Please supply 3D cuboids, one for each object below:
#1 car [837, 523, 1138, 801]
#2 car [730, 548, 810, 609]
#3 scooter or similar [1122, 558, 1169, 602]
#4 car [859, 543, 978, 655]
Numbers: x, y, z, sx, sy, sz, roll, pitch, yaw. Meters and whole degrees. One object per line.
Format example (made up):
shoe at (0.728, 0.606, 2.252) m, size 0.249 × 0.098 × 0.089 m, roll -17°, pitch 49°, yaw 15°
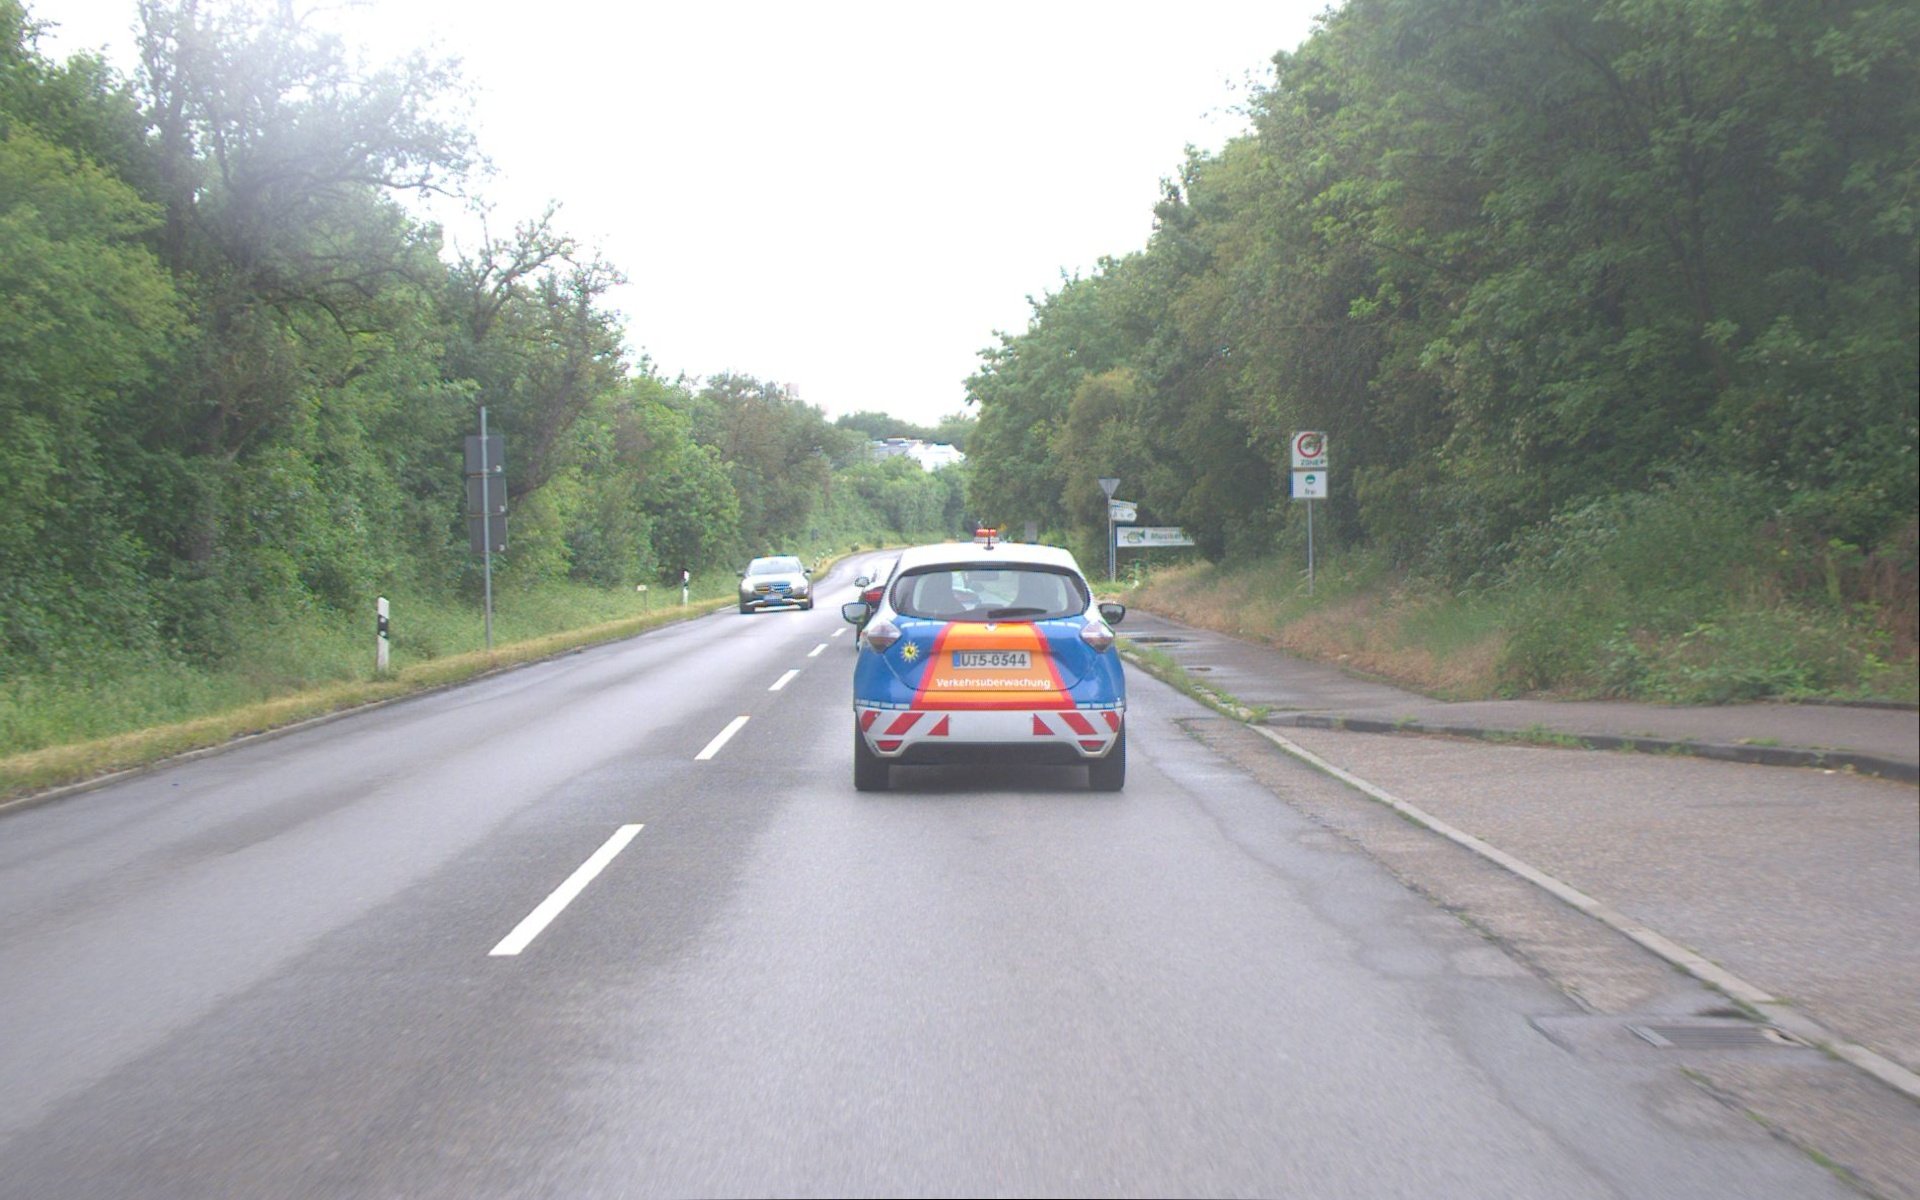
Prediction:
car at (0.140, 0.356, 22.801) m, size 1.806 × 1.662 × 3.856 m, roll 1°, pitch 1°, yaw -1°
car at (-5.101, -0.593, 92.644) m, size 1.871 × 1.484 × 4.574 m, roll -4°, pitch 1°, yaw -1°
scooter or similar at (5.215, -0.559, 96.590) m, size 1.326 × 1.202 × 0.373 m, roll -1°, pitch 1°, yaw 40°
car at (-0.614, -0.033, 51.450) m, size 1.694 × 1.590 × 3.856 m, roll 1°, pitch 1°, yaw 0°
